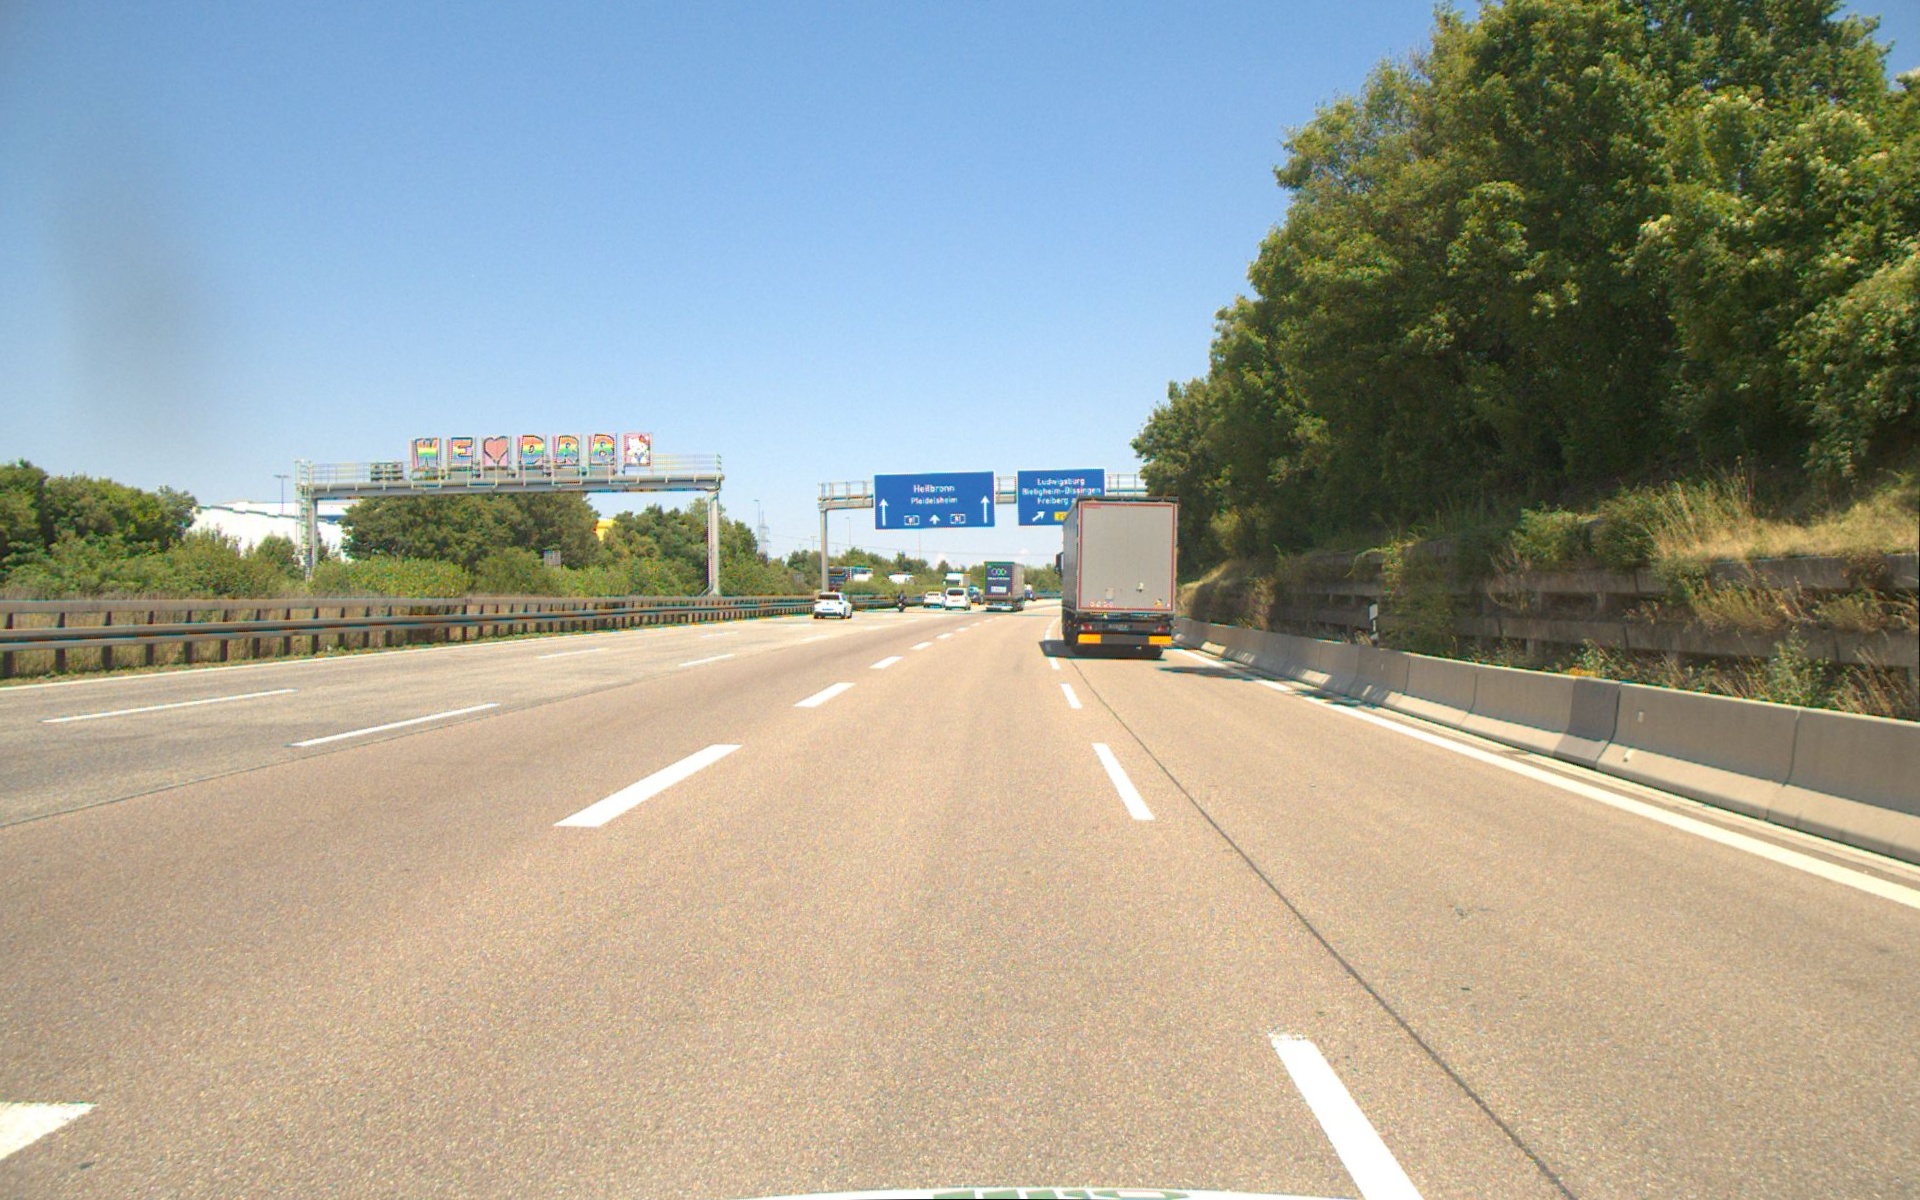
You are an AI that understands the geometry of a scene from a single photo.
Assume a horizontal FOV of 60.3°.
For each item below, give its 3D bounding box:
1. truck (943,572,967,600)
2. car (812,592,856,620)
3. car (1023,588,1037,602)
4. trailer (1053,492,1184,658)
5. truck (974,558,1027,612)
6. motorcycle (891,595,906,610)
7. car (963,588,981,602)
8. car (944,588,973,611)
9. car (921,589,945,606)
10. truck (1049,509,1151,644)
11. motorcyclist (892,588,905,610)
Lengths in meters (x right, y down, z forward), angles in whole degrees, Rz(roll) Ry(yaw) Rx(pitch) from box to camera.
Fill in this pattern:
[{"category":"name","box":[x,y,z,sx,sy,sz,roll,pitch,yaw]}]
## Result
[{"category":"truck","box":[-0.677,-2.155,259.932,2.694,4.281,10.410,1,0,6]},{"category":"car","box":[-6.997,0.331,92.235,1.744,1.466,4.671,0,0,4]},{"category":"car","box":[10.679,-0.778,251.824,1.837,2.037,5.128,0,-1,5]},{"category":"trailer","box":[4.246,-0.706,46.771,2.867,4.085,12.042,0,1,2]},{"category":"truck","box":[3.611,-1.288,141.854,3.668,4.345,14.504,1,0,5]},{"category":"motorcycle","box":[-4.618,0.203,124.613,0.893,1.108,2.850,0,-1,3]},{"category":"car","box":[1.387,-0.534,188.112,1.720,1.433,5.041,-1,-2,4]},{"category":"car","box":[-0.106,-0.066,140.914,1.889,1.884,4.695,-1,0,6]},{"category":"car","box":[-2.535,-0.197,154.929,1.837,1.466,5.128,0,-1,4]},{"category":"truck","box":[4.445,-0.773,53.864,2.867,4.085,7.585,0,1,2]},{"category":"motorcyclist","box":[-4.615,-0.057,124.646,0.874,1.625,1.300,0,-1,3]}]
